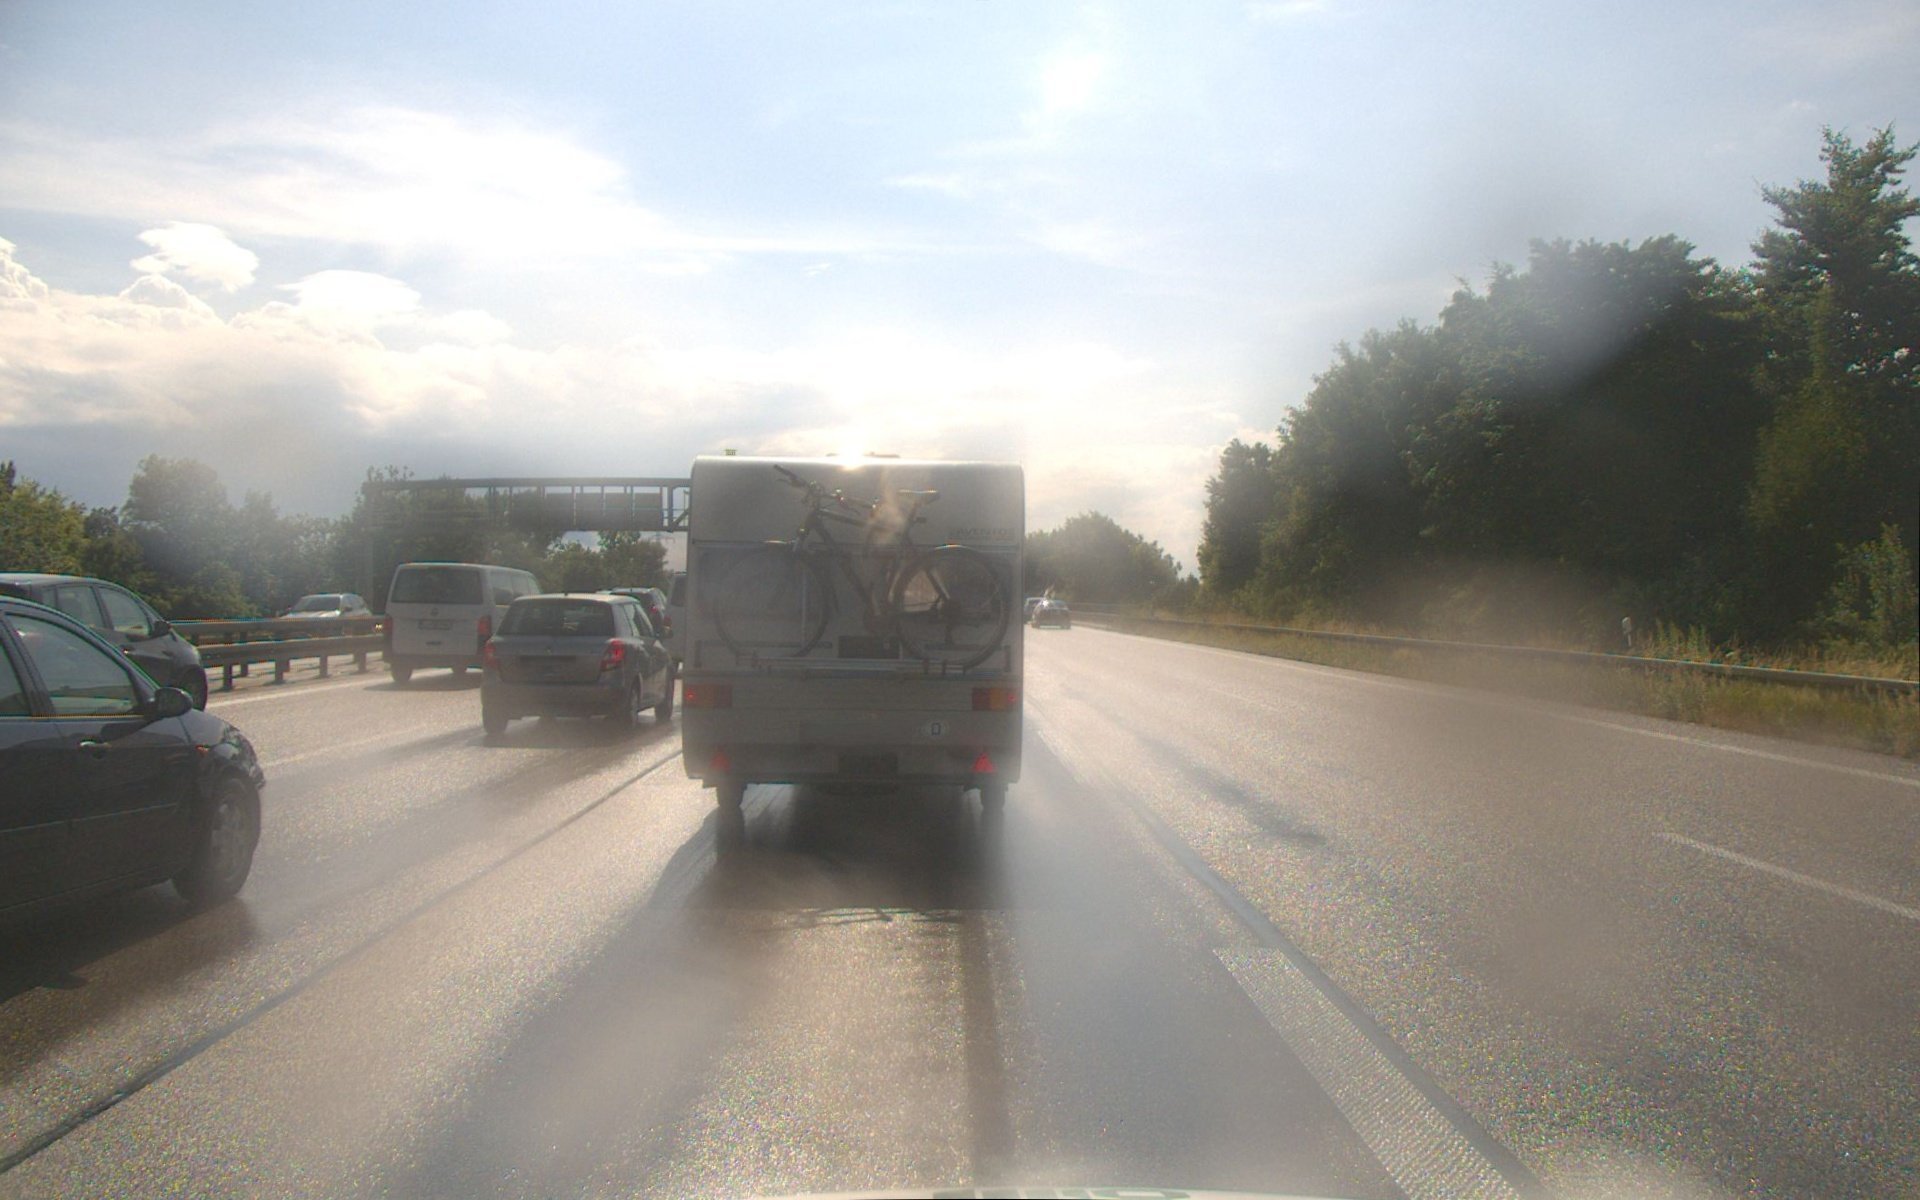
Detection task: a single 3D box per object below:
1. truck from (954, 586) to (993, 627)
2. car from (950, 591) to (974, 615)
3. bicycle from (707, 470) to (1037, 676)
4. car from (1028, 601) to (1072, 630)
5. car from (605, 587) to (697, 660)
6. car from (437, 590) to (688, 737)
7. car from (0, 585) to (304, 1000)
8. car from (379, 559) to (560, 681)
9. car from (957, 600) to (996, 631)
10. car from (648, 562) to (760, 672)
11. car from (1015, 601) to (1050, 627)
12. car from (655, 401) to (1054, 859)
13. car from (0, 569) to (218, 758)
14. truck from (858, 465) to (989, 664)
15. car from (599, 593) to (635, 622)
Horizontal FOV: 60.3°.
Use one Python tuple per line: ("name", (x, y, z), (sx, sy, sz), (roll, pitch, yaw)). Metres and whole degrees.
("truck", (0.848, 0.377, 105.126), (2.366, 2.486, 6.052), (0, 0, 0))
("car", (0.140, 0.192, 119.209), (1.684, 1.713, 4.000), (0, 0, 0))
("bicycle", (-0.509, -0.155, 9.759), (1.894, 1.161, 0.384), (1, -1, 0))
("car", (4.850, 0.814, 89.612), (1.840, 1.521, 3.996), (1, 0, -5))
("car", (-7.659, 0.565, 41.287), (1.736, 1.691, 3.997), (1, 0, -4))
("car", (-4.383, 0.648, 18.852), (1.947, 1.483, 3.826), (0, 0, 0))
("car", (-4.263, 0.673, 6.581), (1.723, 1.468, 4.000), (0, 0, 0))
("car", (-8.525, 0.315, 29.226), (1.810, 1.967, 5.014), (0, 0, -2))
("car", (0.879, 0.810, 89.135), (1.799, 1.585, 3.997), (1, 0, -4))
("car", (-5.096, 0.327, 33.359), (1.839, 2.049, 3.997), (1, 0, -4))
("car", (4.680, 0.907, 107.328), (1.839, 1.657, 3.997), (1, 0, -3))
("car", (-0.642, 0.191, 11.954), (2.361, 2.721, 3.999), (1, 0, 0))
("car", (-8.919, 0.528, 16.038), (1.747, 1.606, 3.915), (0, 0, -1))
("truck", (-1.053, -0.848, 44.779), (3.083, 4.707, 10.731), (0, 0, -2))
("car", (-25.066, 0.548, 121.025), (1.954, 2.049, 4.360), (0, 0, -3))
